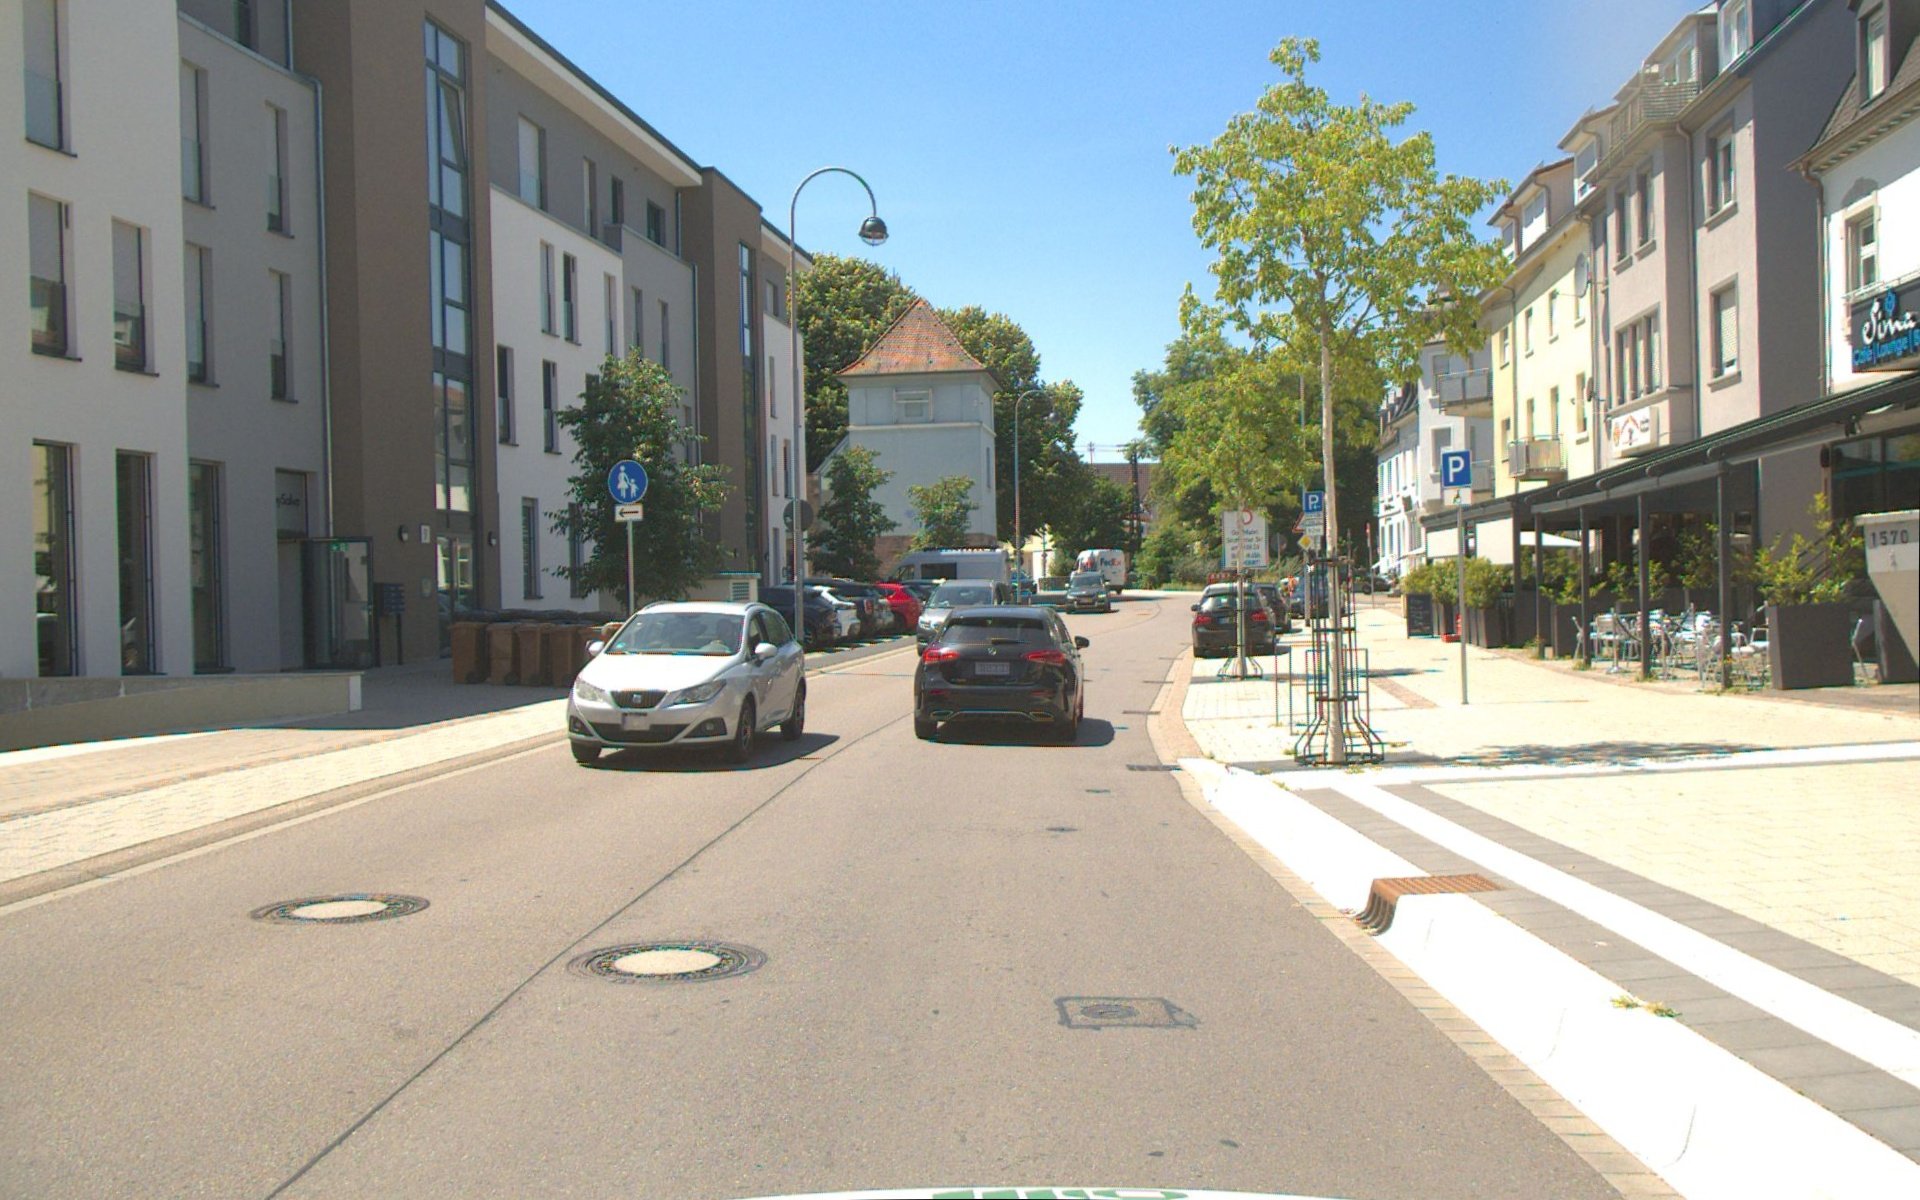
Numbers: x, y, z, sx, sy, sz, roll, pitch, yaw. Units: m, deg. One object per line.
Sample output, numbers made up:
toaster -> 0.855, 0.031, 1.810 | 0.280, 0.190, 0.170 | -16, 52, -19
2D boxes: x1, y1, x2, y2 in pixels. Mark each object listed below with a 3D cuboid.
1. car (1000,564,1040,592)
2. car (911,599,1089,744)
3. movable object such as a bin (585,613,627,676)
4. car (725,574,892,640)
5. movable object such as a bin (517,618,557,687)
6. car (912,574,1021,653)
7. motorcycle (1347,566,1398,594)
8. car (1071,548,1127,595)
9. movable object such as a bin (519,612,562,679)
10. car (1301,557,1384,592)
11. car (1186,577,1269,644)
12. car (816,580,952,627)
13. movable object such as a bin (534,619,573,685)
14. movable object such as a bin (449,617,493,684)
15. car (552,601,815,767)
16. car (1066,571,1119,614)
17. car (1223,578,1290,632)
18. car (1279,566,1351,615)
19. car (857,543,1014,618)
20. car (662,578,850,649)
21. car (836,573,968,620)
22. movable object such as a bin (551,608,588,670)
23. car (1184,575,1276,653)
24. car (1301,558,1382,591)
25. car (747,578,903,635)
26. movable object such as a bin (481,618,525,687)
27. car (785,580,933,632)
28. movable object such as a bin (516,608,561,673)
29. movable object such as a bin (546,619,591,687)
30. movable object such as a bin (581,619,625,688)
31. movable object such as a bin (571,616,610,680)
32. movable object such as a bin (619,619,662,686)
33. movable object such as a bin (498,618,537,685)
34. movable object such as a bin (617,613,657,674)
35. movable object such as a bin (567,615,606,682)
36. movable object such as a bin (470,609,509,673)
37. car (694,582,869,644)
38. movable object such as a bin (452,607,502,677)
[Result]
car -> 3.786, -1.429, 104.797 | 1.857, 1.580, 4.793 | -1, 3, -6
car -> 0.566, 0.740, 19.052 | 1.789, 1.467, 4.002 | 1, 0, 5
movable object such as a bin -> -5.986, 0.754, 27.993 | 0.542, 1.038, 0.560 | -1, 0, 4
car -> -3.923, 0.154, 43.102 | 3.946, 1.680, 2.002 | 0, 1, 11
movable object such as a bin -> -6.480, 0.799, 25.345 | 0.415, 1.015, 0.524 | -1, 0, 8
car -> 0.212, 0.283, 37.420 | 1.901, 1.687, 4.239 | 0, 0, 8
motorcycle -> 20.212, -0.988, 81.077 | 2.326, 1.297, 0.857 | -1, 1, 8
car -> 8.319, -1.686, 99.244 | 2.088, 2.675, 5.266 | -1, 0, -9
movable object such as a bin -> -6.923, 0.746, 27.331 | 0.608, 1.057, 0.581 | -1, 0, -9
car -> 19.612, -1.298, 84.910 | 3.988, 1.746, 1.858 | 0, 1, 7
car -> 6.885, 0.233, 42.302 | 1.700, 1.511, 4.058 | -4, 0, 14
car -> -2.397, 0.106, 52.755 | 4.111, 1.462, 1.887 | 0, 1, 4
movable object such as a bin -> -6.357, 0.809, 25.893 | 0.394, 1.015, 0.556 | -1, 0, 7
movable object such as a bin -> -7.596, 0.776, 25.709 | 0.473, 1.015, 0.588 | -1, 0, 1
car -> -2.588, 0.734, 16.345 | 1.632, 1.420, 3.850 | 0, 0, 5
car -> 5.605, -0.318, 69.619 | 1.772, 1.731, 4.079 | 0, 0, 11
car -> 8.774, 0.107, 48.697 | 1.687, 1.429, 4.613 | -2, 0, 13
car -> 12.776, -0.351, 59.366 | 1.834, 1.517, 3.862 | -3, 2, 22
car -> -0.904, -0.751, 62.838 | 5.644, 2.780, 2.294 | 0, 1, 10
car -> -4.677, 0.284, 38.227 | 3.902, 1.541, 2.002 | 0, 2, 8
car -> -2.012, -0.124, 58.170 | 4.358, 1.619, 2.002 | 0, 1, 8
movable object such as a bin -> -6.782, 0.670, 28.755 | 0.565, 1.057, 0.549 | -1, 0, -9
car -> 5.939, 0.286, 36.333 | 1.793, 1.508, 4.099 | -3, 0, 10
car -> 20.070, -1.342, 87.211 | 3.988, 1.746, 1.858 | 0, 1, 7
car -> -3.718, 0.157, 45.918 | 3.946, 1.523, 2.002 | 0, 1, 11
movable object such as a bin -> -6.993, 0.797, 25.331 | 0.473, 1.015, 0.527 | -1, 0, 5
car -> -2.931, 0.155, 48.486 | 3.946, 1.455, 2.002 | 0, 1, 11
movable object such as a bin -> -7.140, 0.677, 28.053 | 0.663, 1.057, 0.603 | -1, 0, -9
movable object such as a bin -> -5.963, 0.803, 25.211 | 0.472, 1.015, 0.588 | -1, 0, 8
movable object such as a bin -> -5.429, 0.808, 25.154 | 0.473, 1.015, 0.588 | -1, 0, 5
movable object such as a bin -> -6.087, 0.782, 27.241 | 0.543, 1.015, 0.404 | -2, 0, -5
movable object such as a bin -> -4.965, 0.810, 25.736 | 0.472, 1.015, 0.588 | -1, 0, 7
movable object such as a bin -> -6.931, 0.799, 25.917 | 0.394, 1.015, 0.556 | -1, 0, 7
movable object such as a bin -> -5.558, 0.747, 28.506 | 0.542, 1.015, 0.427 | -1, 0, 10
movable object such as a bin -> -5.812, 0.752, 25.745 | 0.394, 1.015, 0.556 | -1, 0, 7
movable object such as a bin -> -7.979, 0.696, 28.063 | 0.544, 1.057, 0.481 | -1, 0, -9
car -> -4.348, 0.296, 40.616 | 3.902, 1.446, 1.912 | 0, 1, 9
movable object such as a bin -> -7.920, 0.687, 27.159 | 0.679, 1.114, 0.646 | -1, 0, -9
